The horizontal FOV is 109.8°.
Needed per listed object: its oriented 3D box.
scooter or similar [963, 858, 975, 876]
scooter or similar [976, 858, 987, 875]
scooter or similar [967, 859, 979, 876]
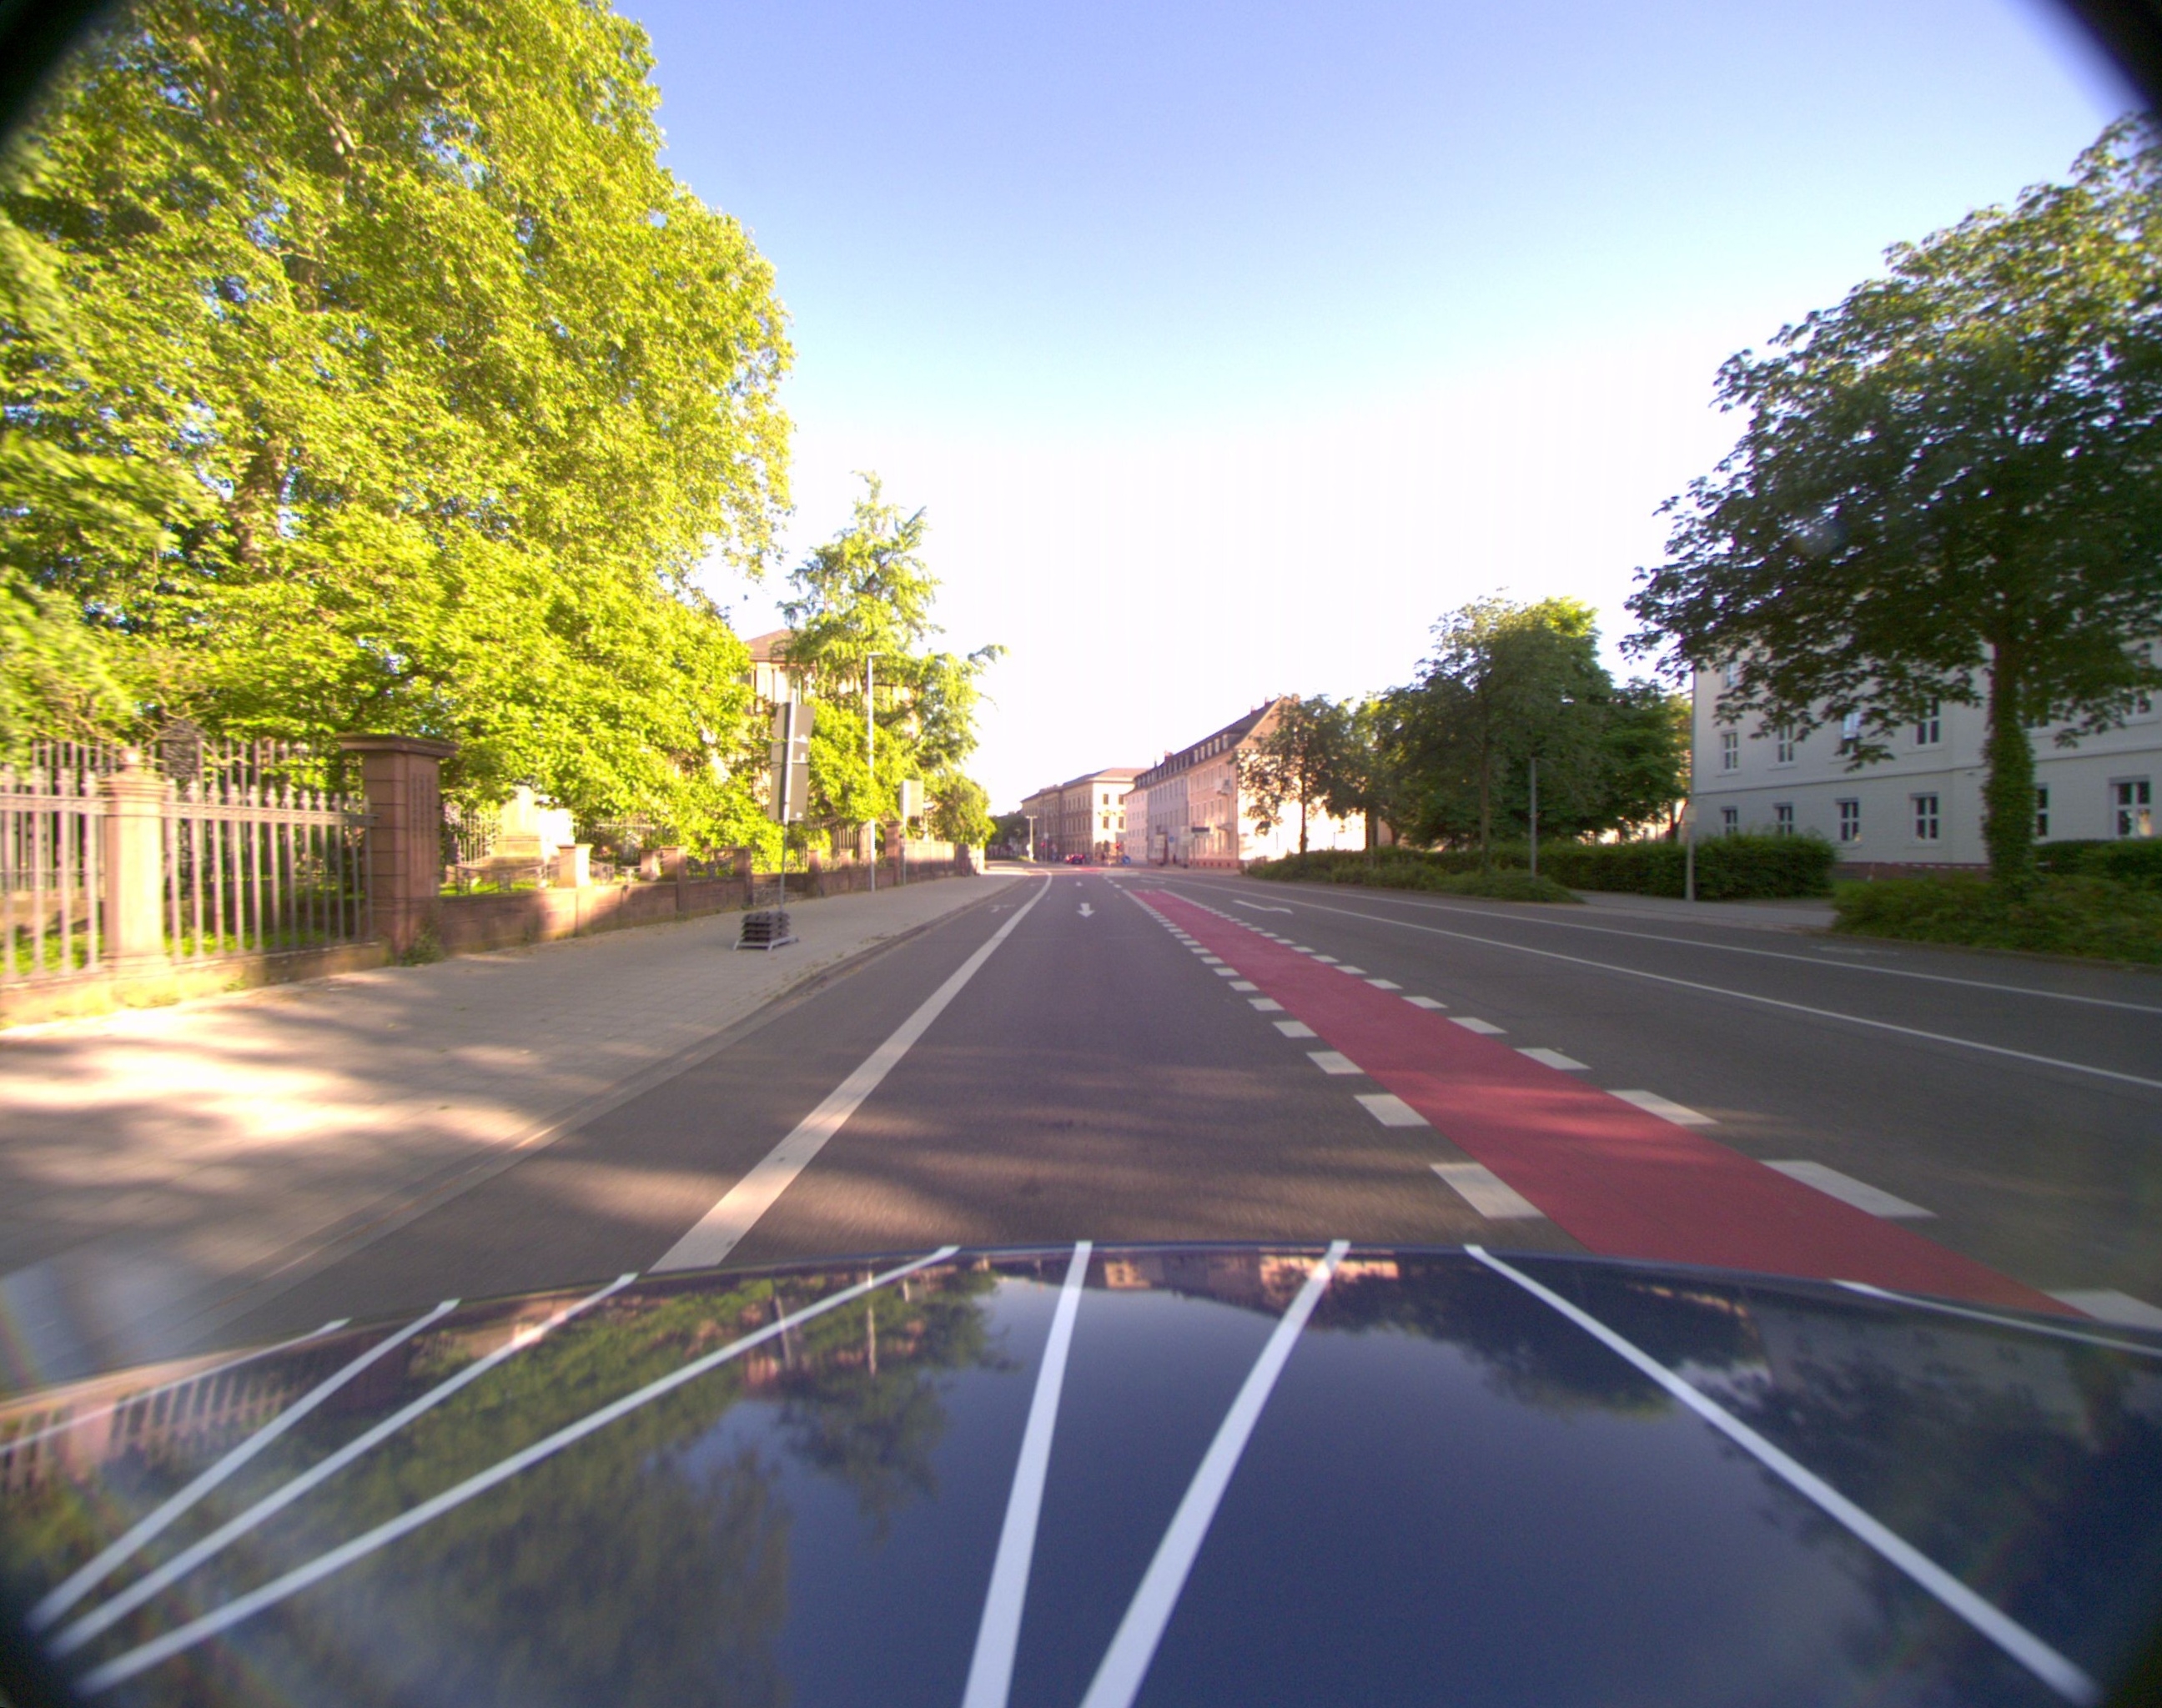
[{"bbox_3d":[-6.835,0.766,46.267,0.416,1.035,1.779,-2,1,1],"label":"scooter or similar"},{"bbox_3d":[-6.357,0.810,48.419,0.416,1.035,1.779,-2,1,1],"label":"scooter or similar"},{"bbox_3d":[-6.898,0.830,48.501,0.416,1.035,1.779,-2,1,1],"label":"scooter or similar"}]
